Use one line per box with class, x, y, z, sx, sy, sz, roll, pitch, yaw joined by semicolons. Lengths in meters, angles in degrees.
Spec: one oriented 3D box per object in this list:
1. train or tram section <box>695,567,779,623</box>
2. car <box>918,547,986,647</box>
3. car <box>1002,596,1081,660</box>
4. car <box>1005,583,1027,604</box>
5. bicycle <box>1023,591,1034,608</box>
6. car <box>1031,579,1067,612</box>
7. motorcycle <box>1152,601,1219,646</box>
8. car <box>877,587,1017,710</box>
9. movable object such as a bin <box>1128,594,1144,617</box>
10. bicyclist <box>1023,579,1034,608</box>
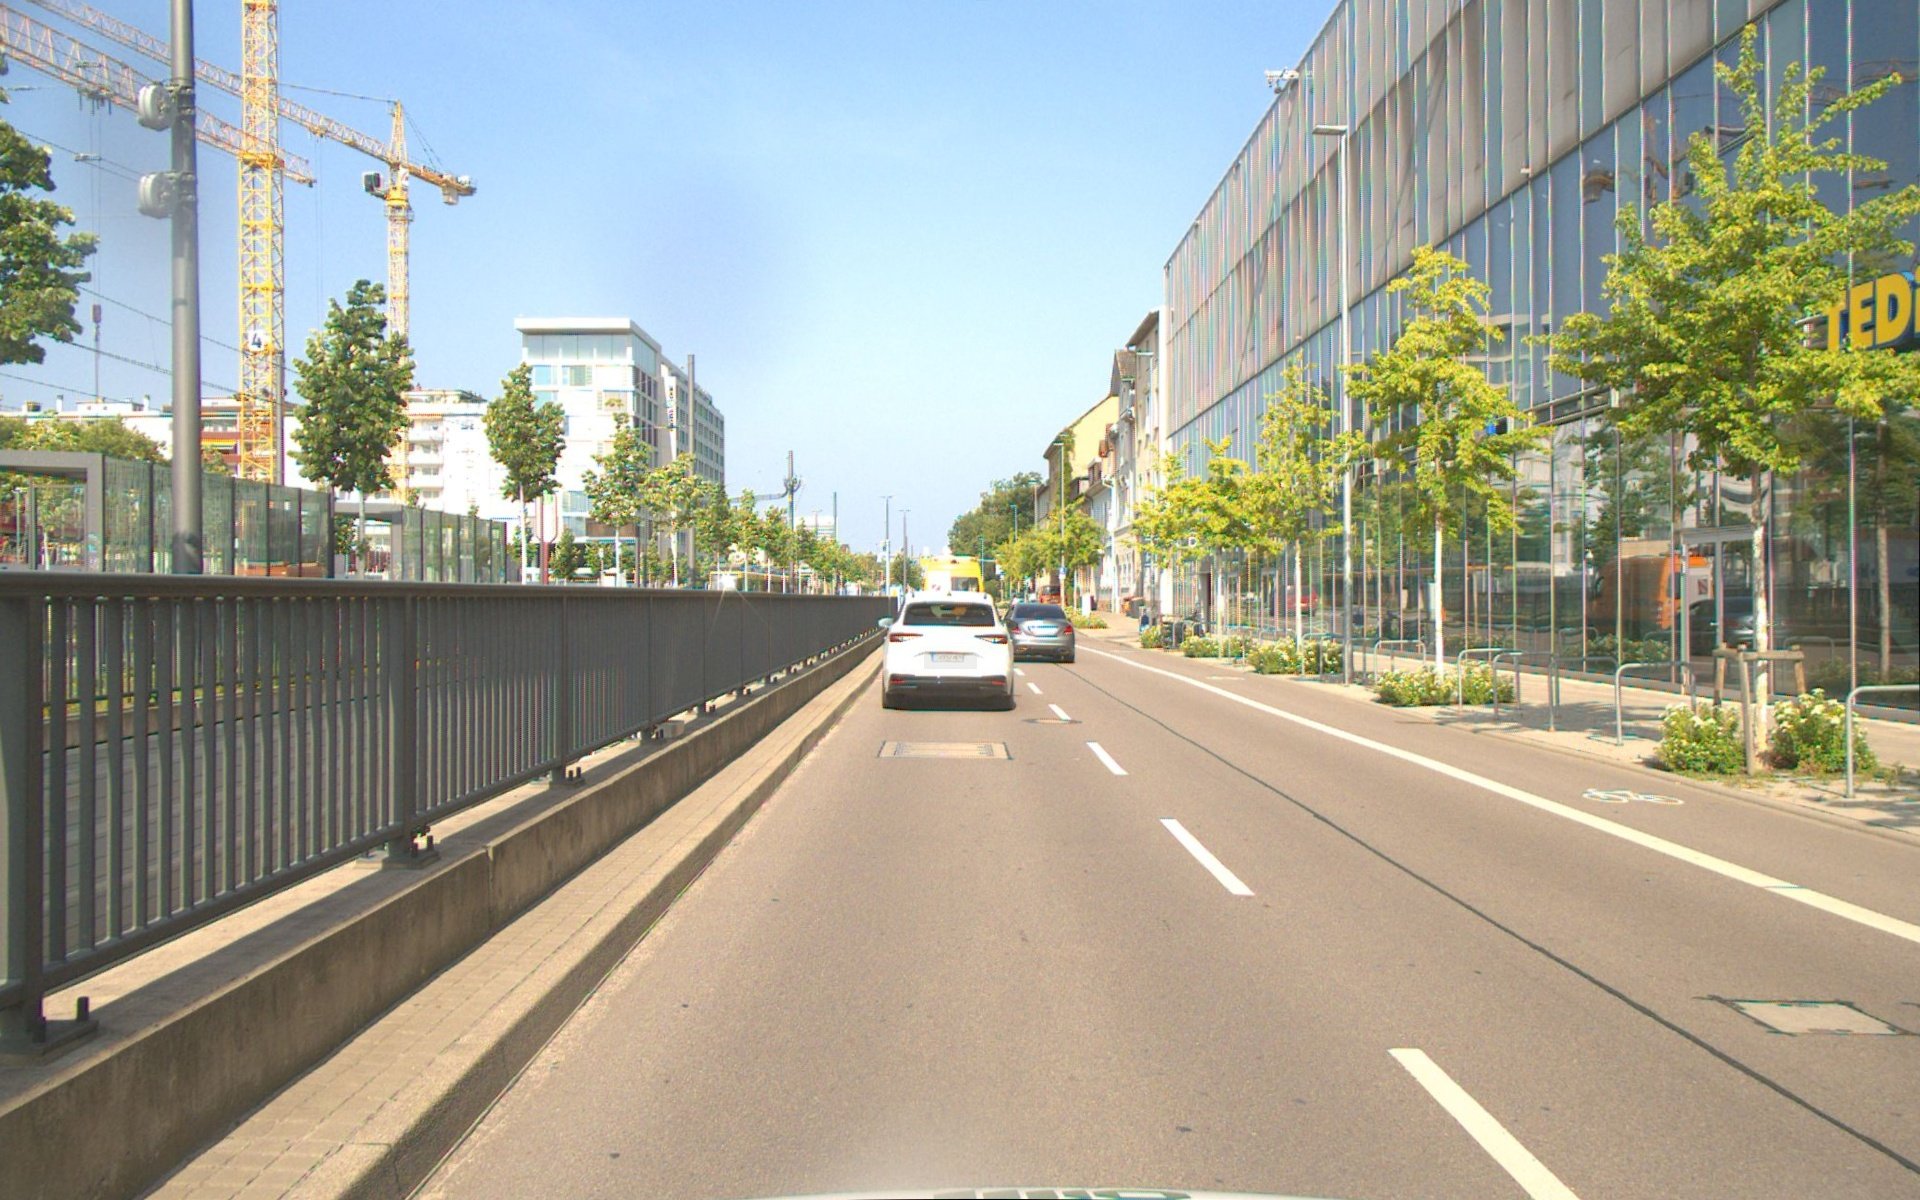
train or tram section;-16.169;-0.343;121.580;2.845;3.740;18.142;1;0;3
car;-0.241;-0.165;50.915;1.979;2.844;5.401;0;2;0
car;2.000;0.662;41.516;1.724;1.461;4.115;1;1;0
car;5.105;-0.595;150.372;1.775;1.844;3.835;0;1;-1
bicycle;3.833;-0.052;92.804;0.642;0.955;1.517;0;0;2
car;5.733;-0.310;106.814;2.021;2.049;4.588;0;1;-1
motorcycle;7.149;0.734;52.557;1.934;1.373;0.865;-1;0;-11
car;-0.181;0.626;23.702;1.831;1.602;4.000;0;0;0
movable object such as a bin;9.457;0.309;89.022;0.765;1.192;0.808;0;2;-1
bicyclist;3.824;-0.383;92.646;0.626;1.604;0.771;0;0;2
